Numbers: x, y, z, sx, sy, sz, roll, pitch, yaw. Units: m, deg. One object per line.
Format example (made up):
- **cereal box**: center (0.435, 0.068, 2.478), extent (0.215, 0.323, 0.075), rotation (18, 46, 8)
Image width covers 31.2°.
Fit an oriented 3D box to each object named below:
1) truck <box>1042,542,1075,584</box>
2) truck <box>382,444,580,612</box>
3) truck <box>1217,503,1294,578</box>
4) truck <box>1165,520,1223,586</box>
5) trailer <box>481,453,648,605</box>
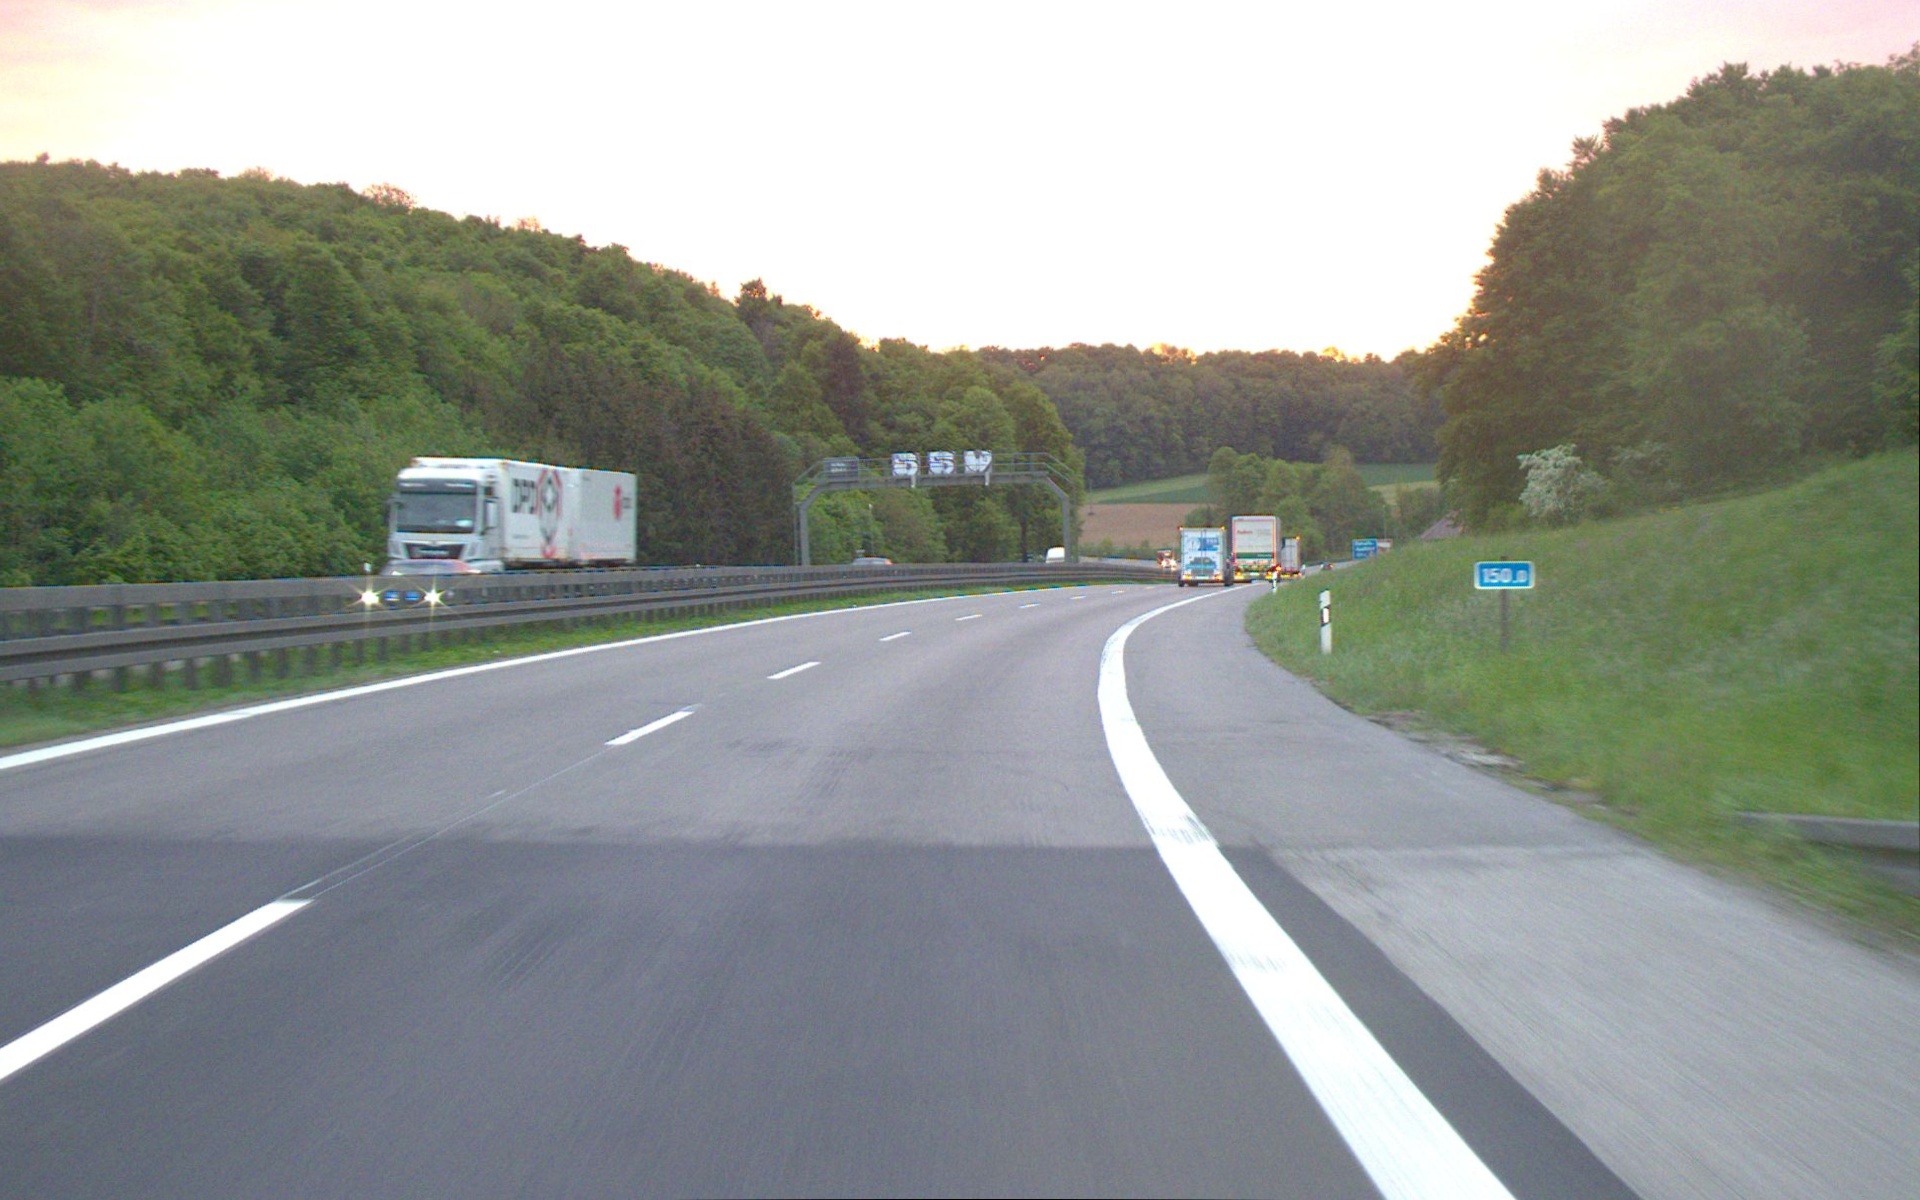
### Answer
- **truck**: center (7.425, -2.783, 258.470), extent (1.994, 3.057, 5.593), rotation (0, 1, 7)
- **truck**: center (-12.756, -1.921, 92.537), extent (2.865, 4.266, 10.064), rotation (0, 1, 6)
- **truck**: center (18.127, -3.729, 209.711), extent (3.959, 4.272, 14.320), rotation (-1, 2, 8)
- **truck**: center (10.564, -2.132, 154.835), extent (2.276, 2.655, 5.236), rotation (-2, 3, 6)
- **trailer**: center (-11.639, -2.103, 102.158), extent (2.832, 4.302, 9.291), rotation (0, 1, 7)
